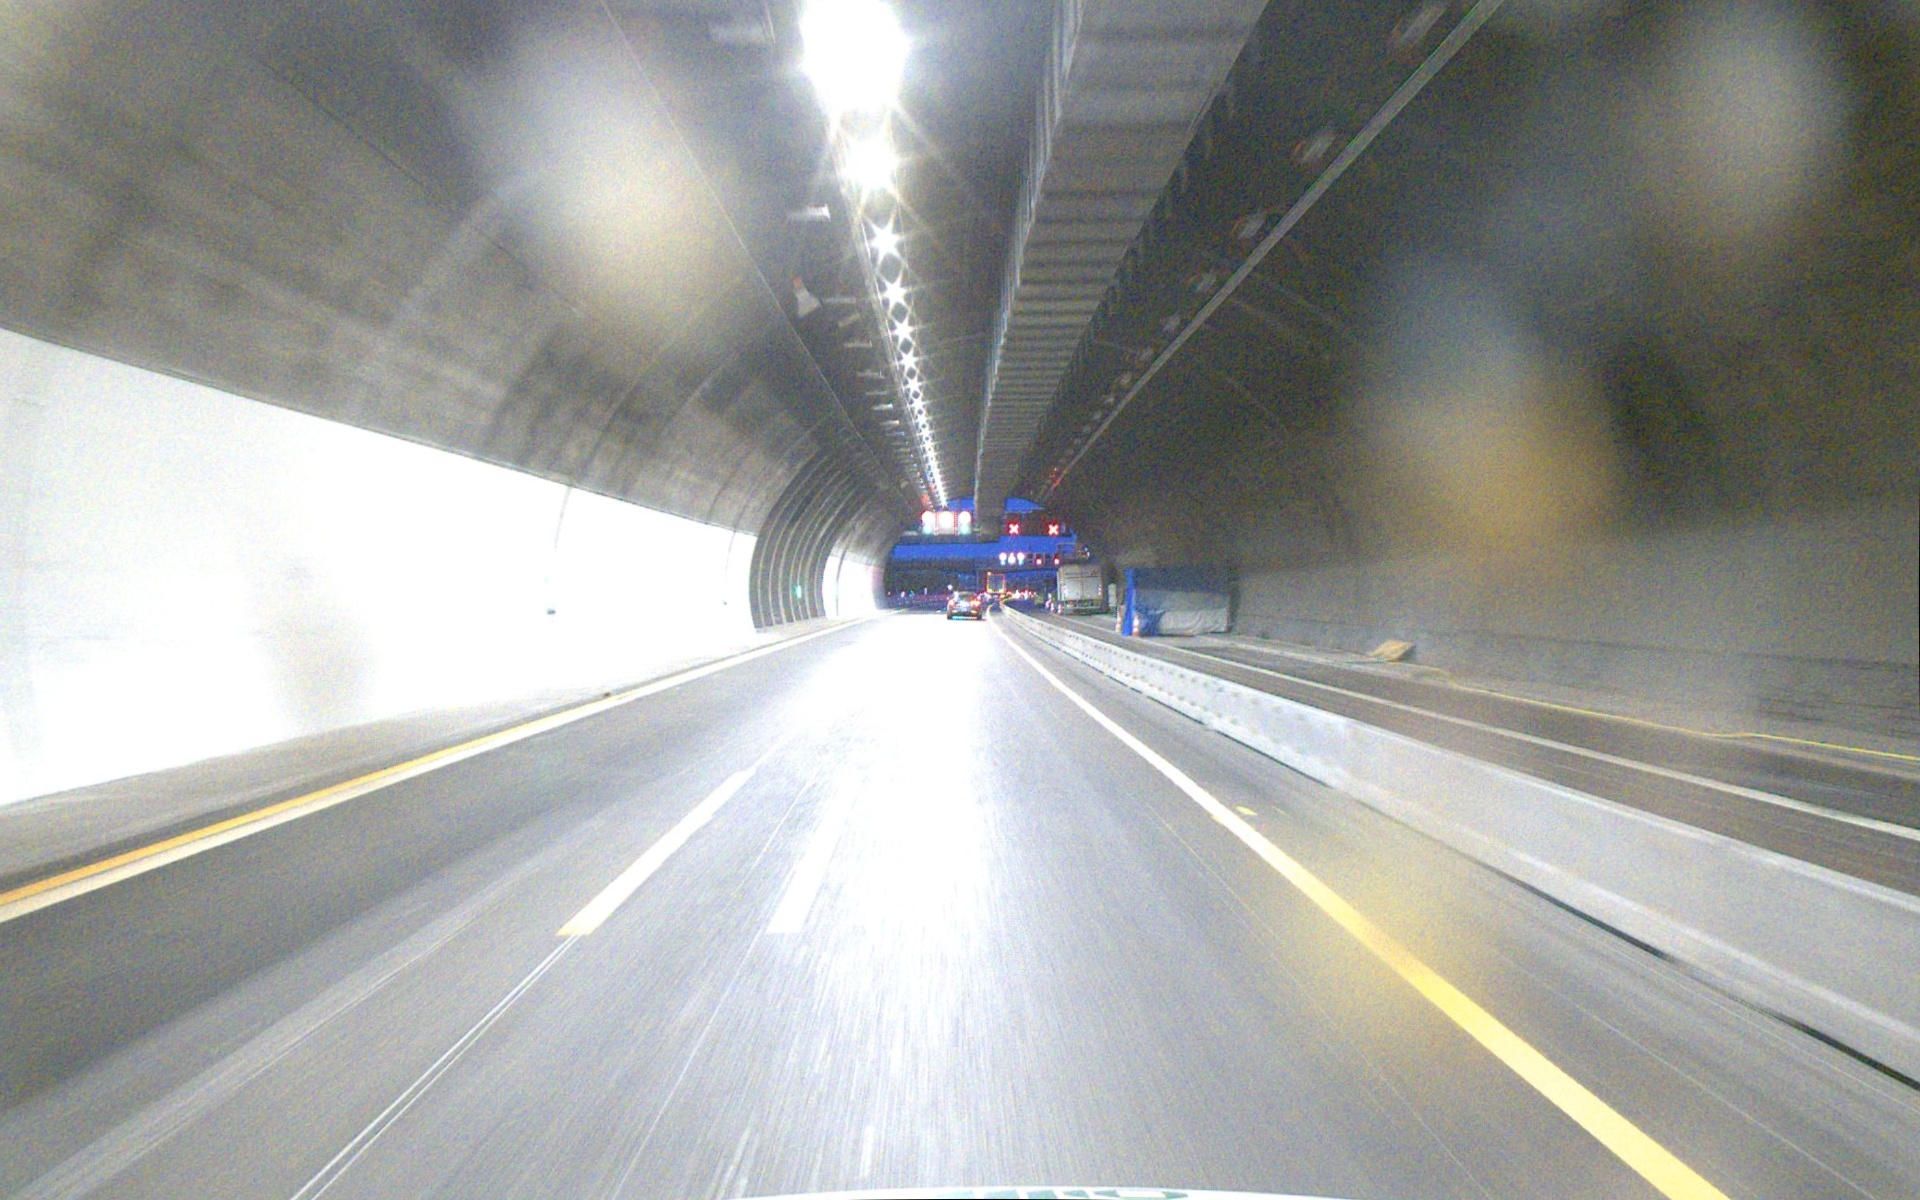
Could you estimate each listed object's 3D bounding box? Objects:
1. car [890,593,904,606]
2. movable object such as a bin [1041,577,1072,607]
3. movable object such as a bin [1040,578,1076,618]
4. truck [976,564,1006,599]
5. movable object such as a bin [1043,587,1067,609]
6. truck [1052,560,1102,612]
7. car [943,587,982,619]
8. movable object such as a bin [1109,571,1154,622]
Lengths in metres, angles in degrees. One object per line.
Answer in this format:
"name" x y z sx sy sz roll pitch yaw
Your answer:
"car" -9.996 -0.102 261.325 1.952 2.049 4.000 1 0 0
"movable object such as a bin" 9.080 -0.736 156.458 2.680 2.802 7.051 1 0 1
"movable object such as a bin" 7.077 -0.146 119.664 2.192 2.843 7.233 1 0 0
"truck" 4.670 -2.747 248.228 4.452 5.074 9.600 1 0 1
"movable object such as a bin" 8.239 -0.172 143.761 1.938 1.847 3.836 1 0 0
"truck" 7.751 -0.905 110.558 2.833 3.329 8.401 1 0 0
"car" 0.117 0.170 87.430 1.850 1.635 3.998 1 0 -3
"movable object such as a bin" 8.681 -0.170 83.959 1.720 2.421 3.999 -3 0 0
